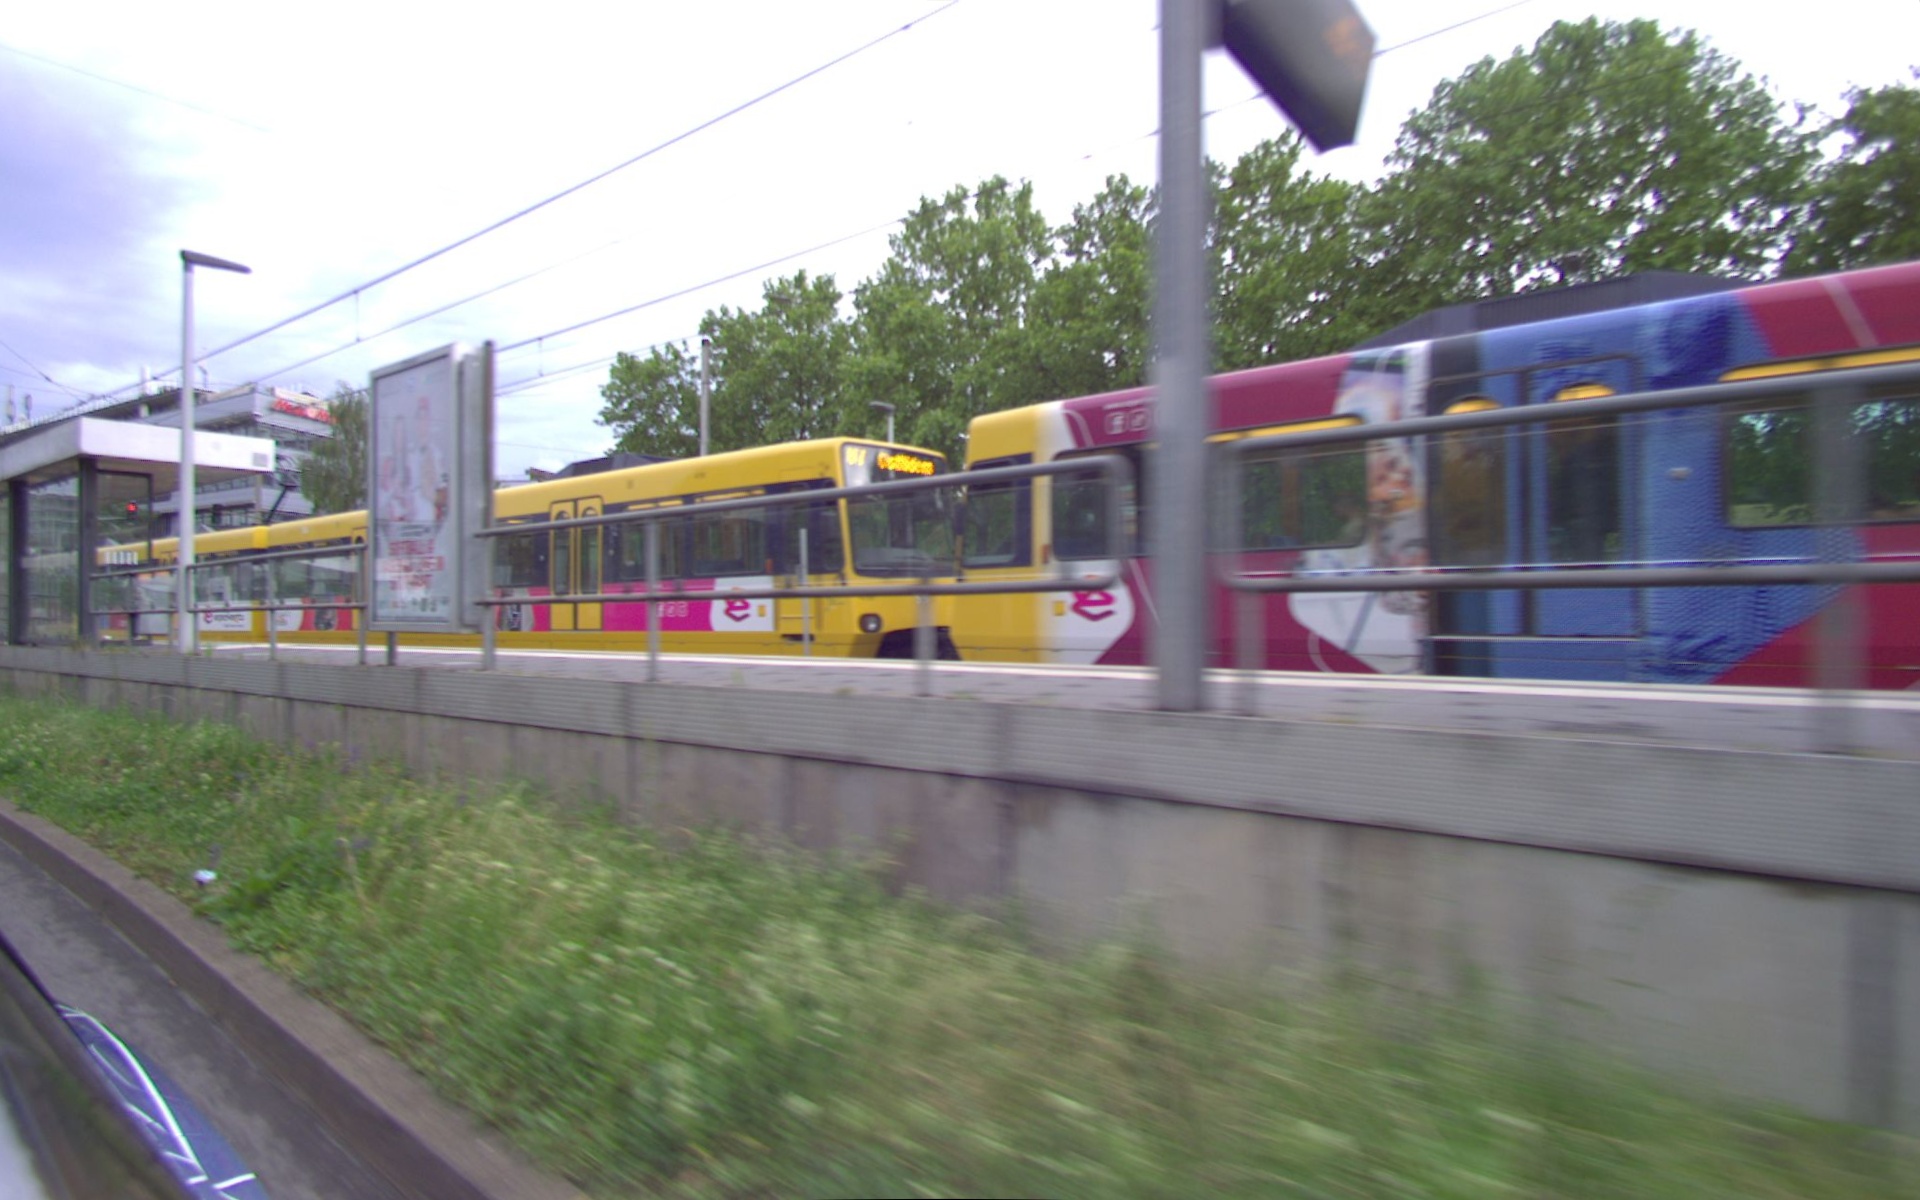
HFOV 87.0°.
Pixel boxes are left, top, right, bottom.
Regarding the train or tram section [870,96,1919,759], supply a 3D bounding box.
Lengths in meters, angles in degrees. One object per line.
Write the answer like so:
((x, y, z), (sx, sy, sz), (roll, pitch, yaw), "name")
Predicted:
((7.328, -1.091, 6.703), (19.313, 4.000, 2.840), (0, 2, 40), "train or tram section")

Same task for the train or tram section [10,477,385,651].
((-23.406, -0.796, 30.006), (19.282, 4.002, 2.844), (-1, 2, 35), "train or tram section")

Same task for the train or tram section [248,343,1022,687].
((-7.746, -0.962, 18.678), (19.295, 3.983, 2.842), (-1, 2, 37), "train or tram section")
